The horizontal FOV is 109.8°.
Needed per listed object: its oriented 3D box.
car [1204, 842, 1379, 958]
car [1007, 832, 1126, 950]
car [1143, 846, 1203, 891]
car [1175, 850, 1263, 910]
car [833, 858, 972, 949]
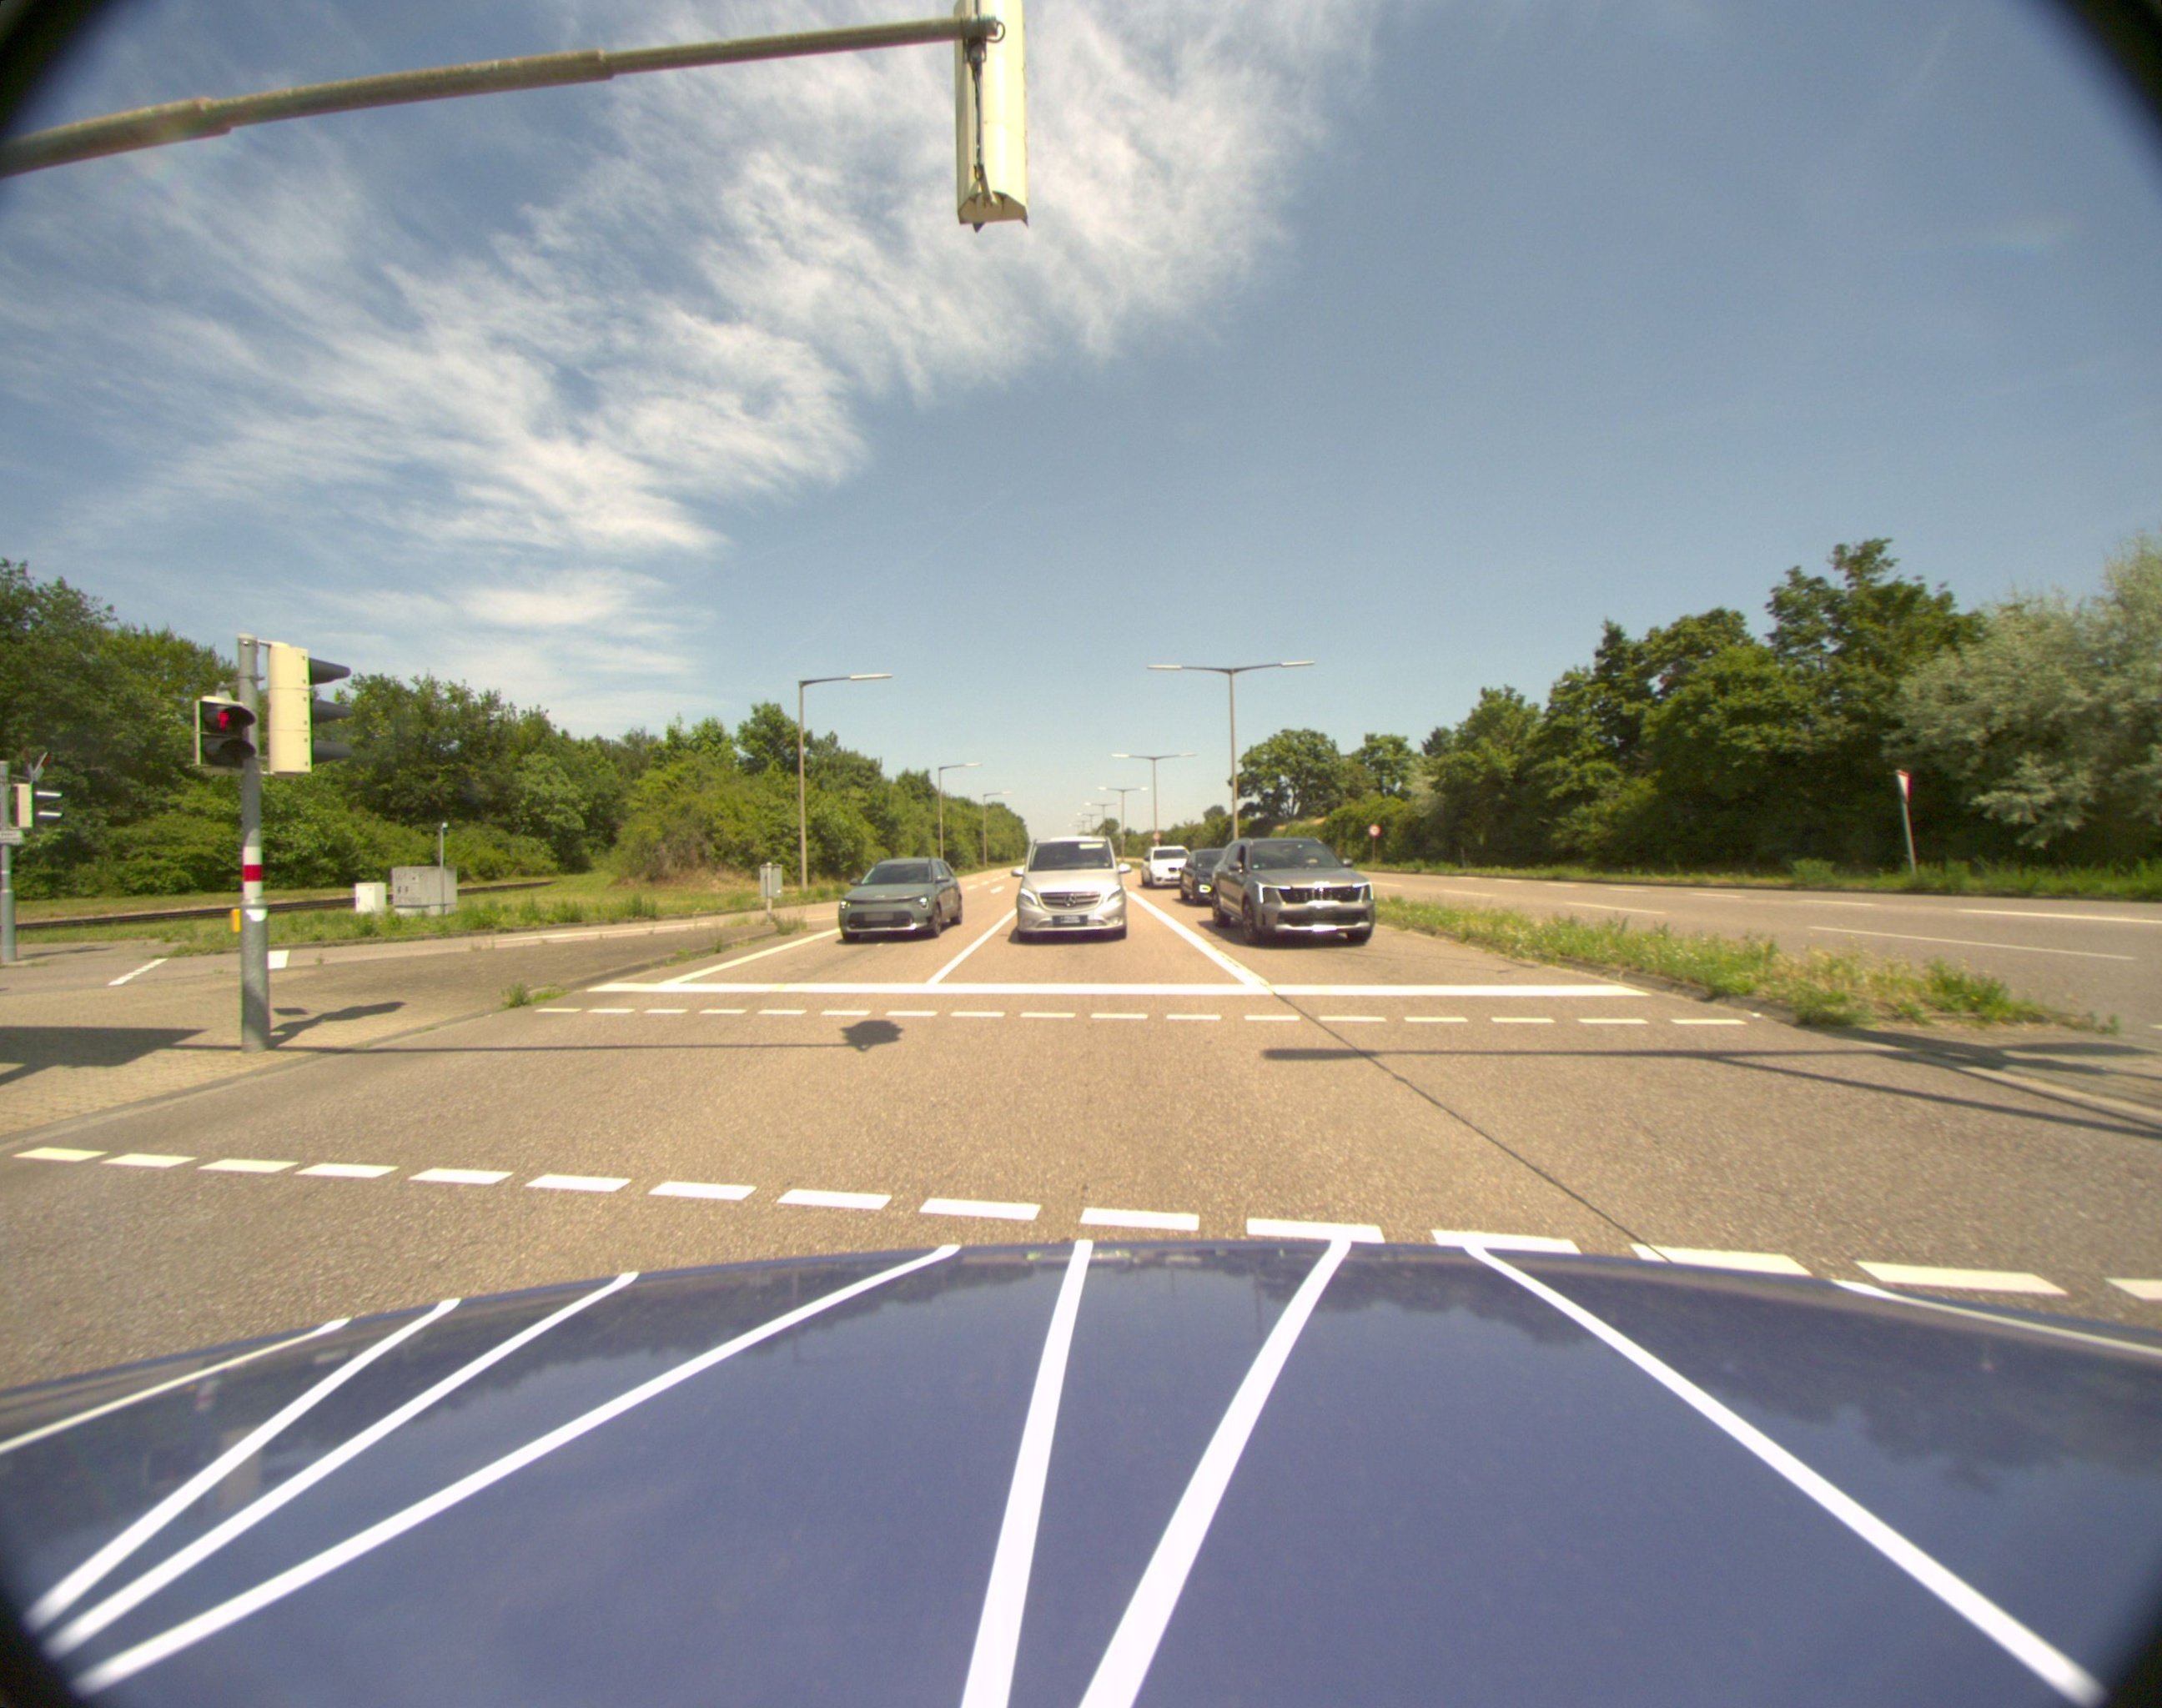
[{"bbox_3d":[3.427,0.655,13.304,1.785,1.658,4.531,-1,0,0],"label":"car"},{"bbox_3d":[-0.149,0.580,15.127,1.876,1.866,5.732,-1,0,2],"label":"car"},{"bbox_3d":[3.703,0.543,31.264,1.921,1.661,4.001,-1,1,0],"label":"car"},{"bbox_3d":[3.834,0.658,21.698,1.753,1.491,4.000,-2,0,0],"label":"car"},{"bbox_3d":[-3.506,0.904,15.666,1.722,1.587,4.001,-1,0,3],"label":"car"}]
